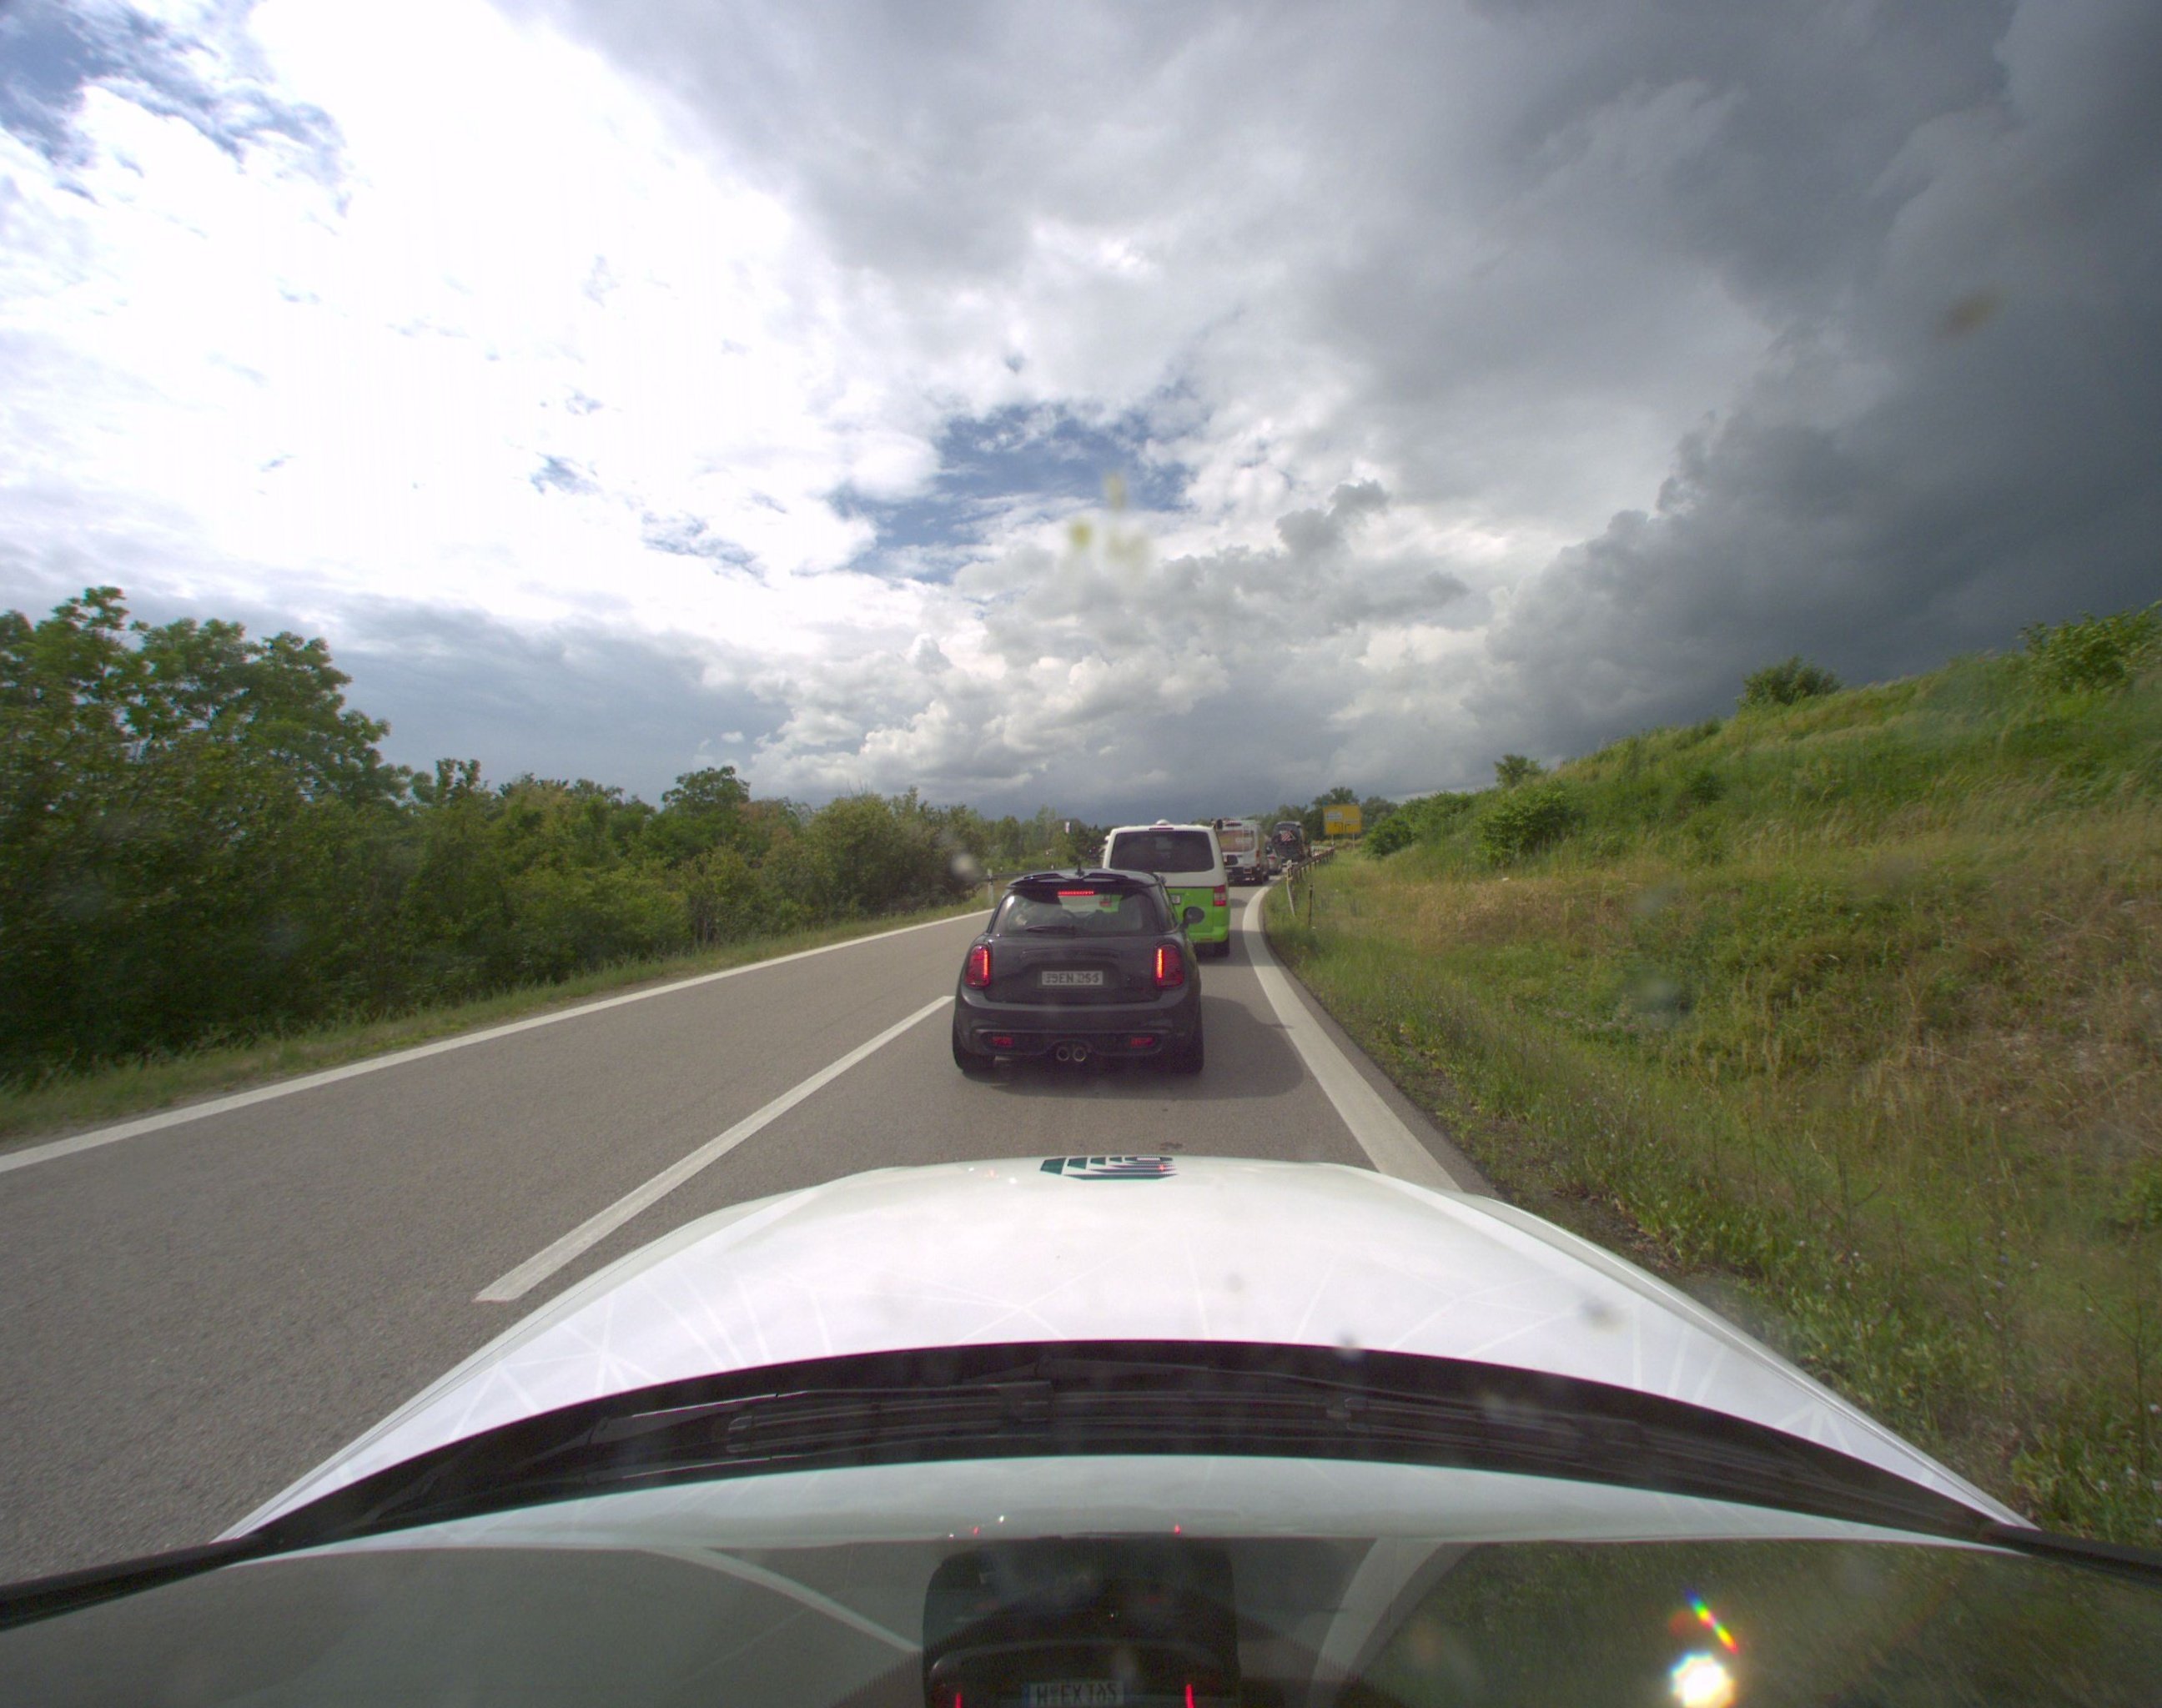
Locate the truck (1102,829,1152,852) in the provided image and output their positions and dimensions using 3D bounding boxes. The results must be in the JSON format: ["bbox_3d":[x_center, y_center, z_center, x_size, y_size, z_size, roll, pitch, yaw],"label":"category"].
[{"bbox_3d":[8.259,-2.351,146.876,2.860,3.976,9.911,0,-1,-41],"label":"truck"}]

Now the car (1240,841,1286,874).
[{"bbox_3d":[9.481,0.195,42.250,1.978,1.642,3.946,-1,-1,17],"label":"car"}]

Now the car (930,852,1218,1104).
[{"bbox_3d":[0.137,0.773,6.967,1.790,1.546,3.745,-1,0,6],"label":"car"}]

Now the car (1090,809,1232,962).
[{"bbox_3d":[1.456,0.441,13.126,1.899,2.045,4.193,-1,0,10],"label":"car"}]

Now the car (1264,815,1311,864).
[{"bbox_3d":[13.757,-0.875,53.911,2.291,3.069,6.696,-1,-1,21],"label":"car"}]

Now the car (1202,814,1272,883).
[{"bbox_3d":[6.573,-0.174,33.791,2.194,2.622,5.559,-1,-1,18],"label":"car"}]

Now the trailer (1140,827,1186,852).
[{"bbox_3d":[13.974,-2.428,139.370,3.057,3.898,8.683,0,-1,-32],"label":"trailer"}]

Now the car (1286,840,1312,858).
[{"bbox_3d":[20.088,-0.438,74.984,1.877,1.588,4.518,-1,-1,20],"label":"car"}]
